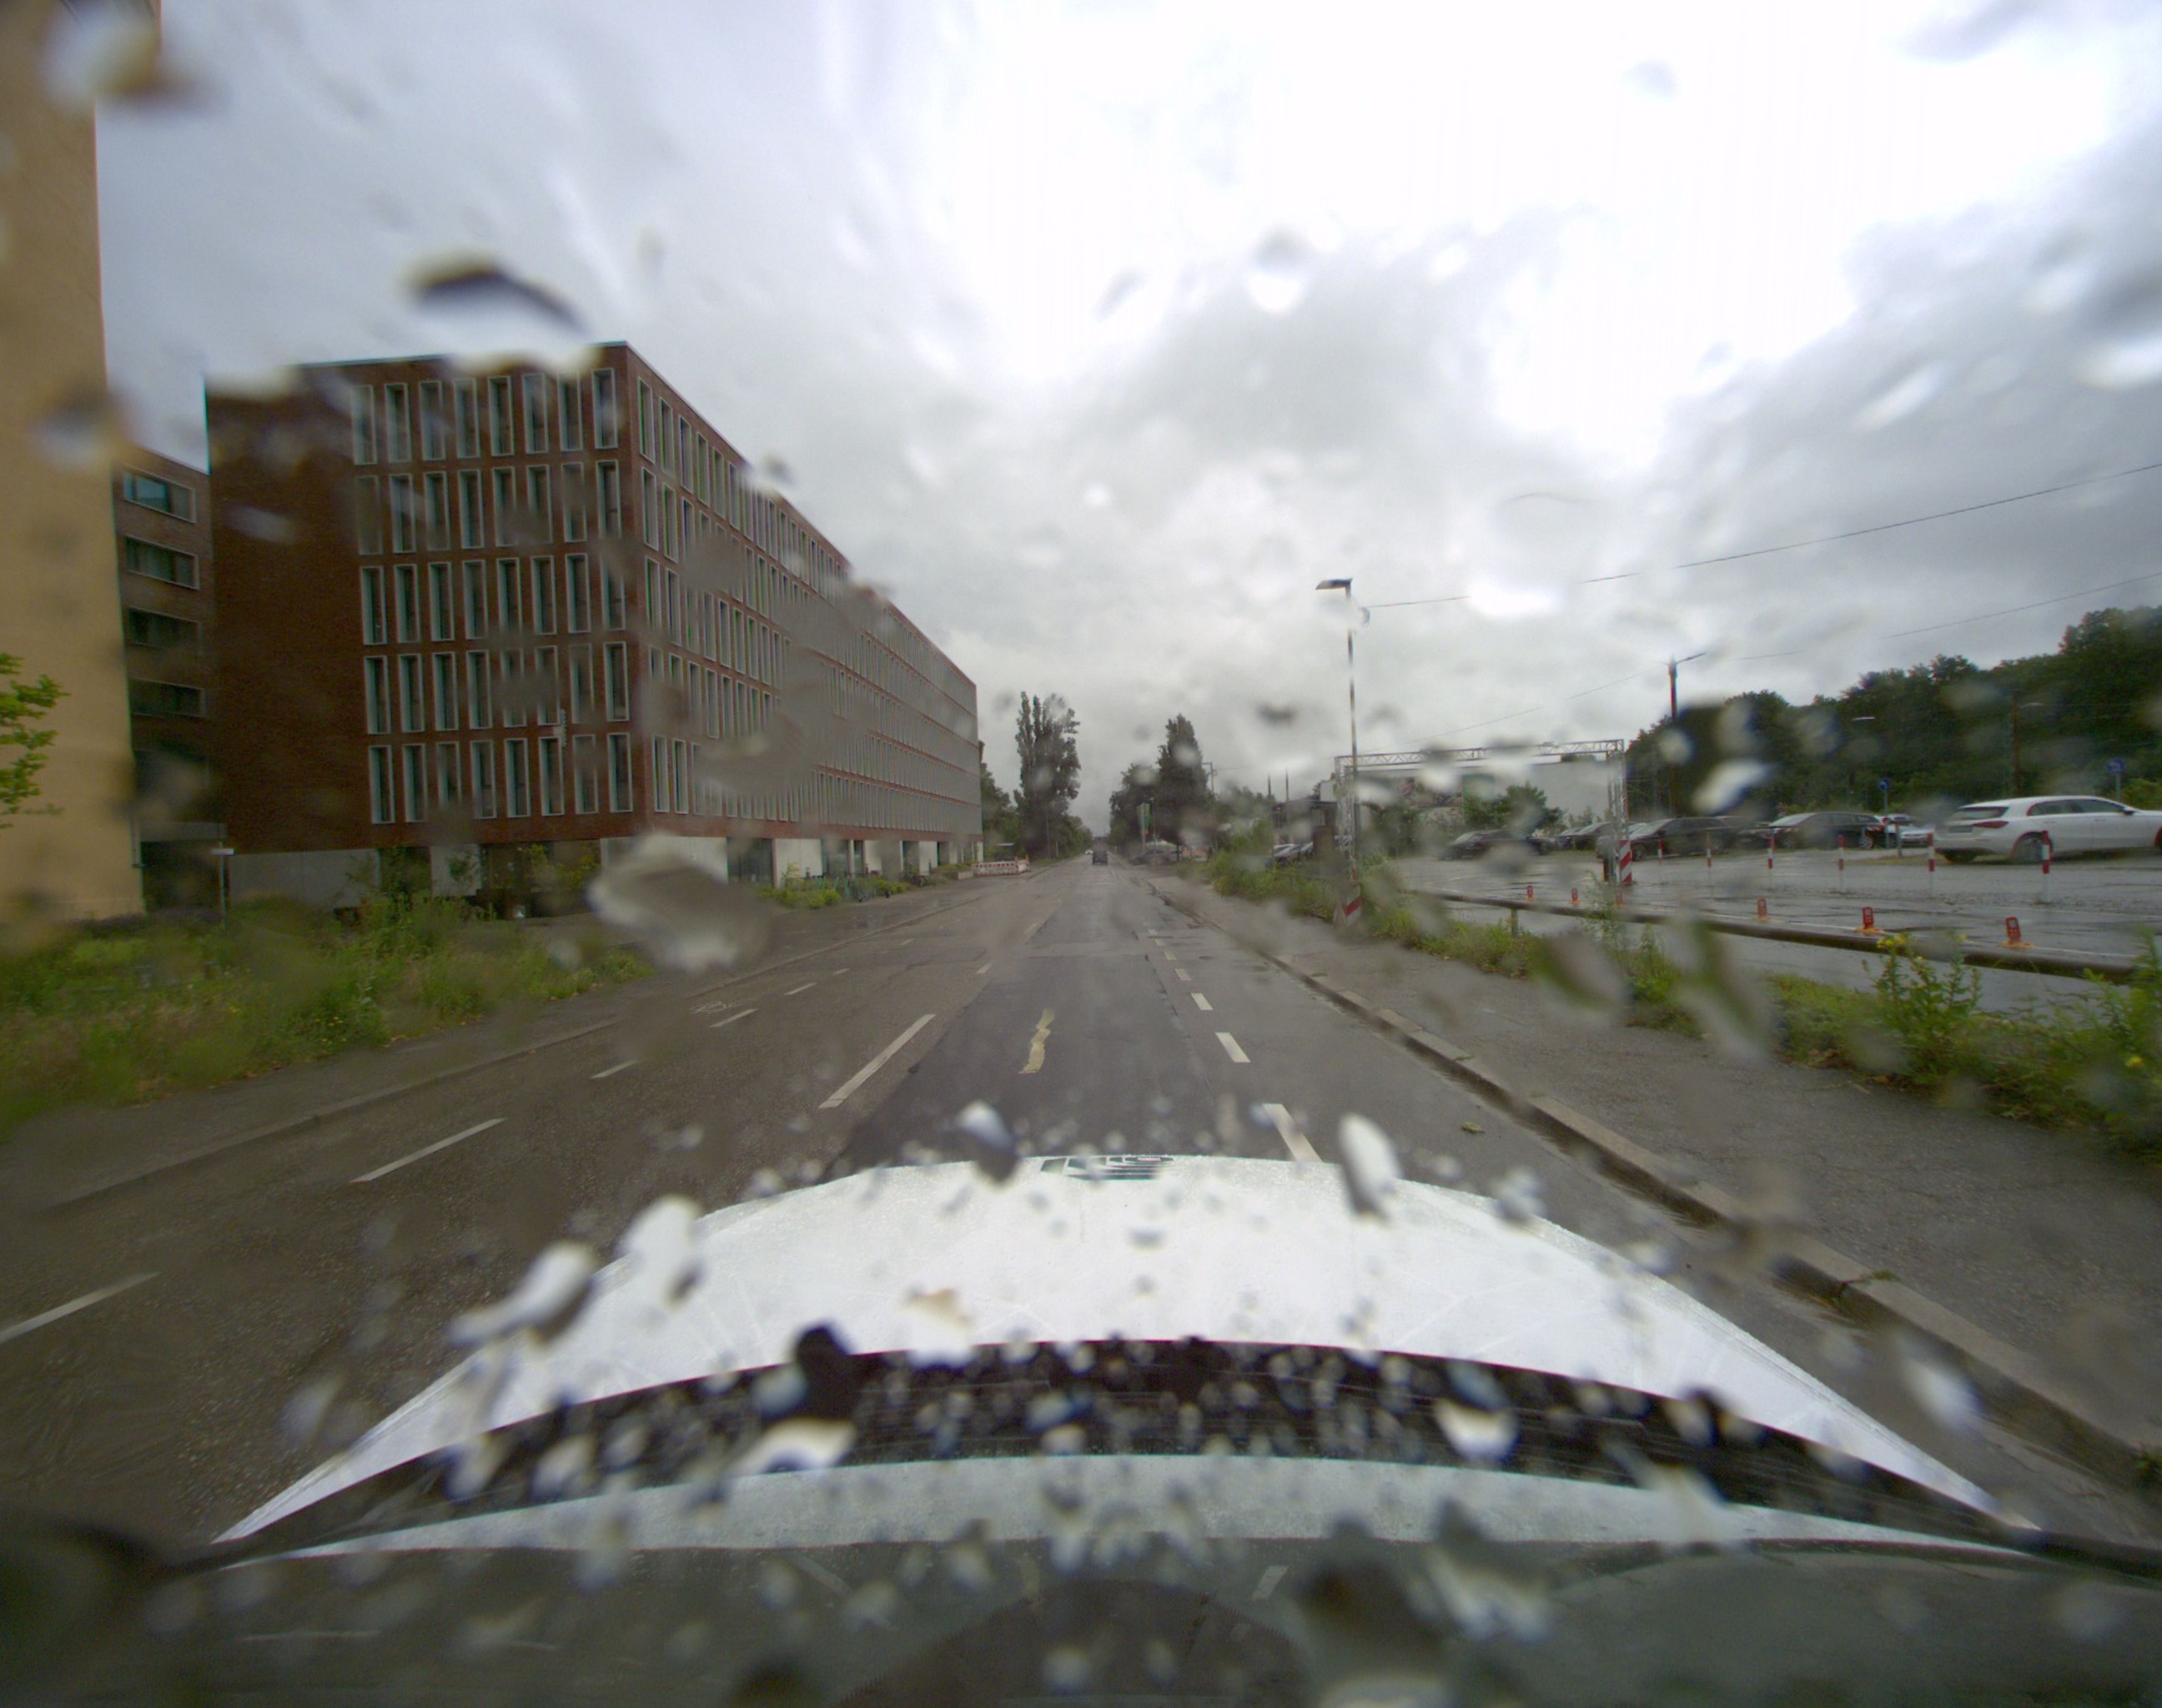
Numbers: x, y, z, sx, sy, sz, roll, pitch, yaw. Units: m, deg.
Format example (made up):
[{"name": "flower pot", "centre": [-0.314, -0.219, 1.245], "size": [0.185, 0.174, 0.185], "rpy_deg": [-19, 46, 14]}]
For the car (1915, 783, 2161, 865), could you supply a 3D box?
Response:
[{"name": "car", "centre": [21.926, -0.651, 18.482], "size": [3.812, 1.484, 1.930], "rpy_deg": [-5, -1, 4]}]

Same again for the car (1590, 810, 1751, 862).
[{"name": "car", "centre": [21.756, -0.634, 30.167], "size": [4.611, 1.716, 2.016], "rpy_deg": [-2, -1, -5]}]

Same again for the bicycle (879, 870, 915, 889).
[{"name": "bicycle", "centre": [-10.730, 1.491, 47.485], "size": [1.942, 1.077, 0.620], "rpy_deg": [-1, 0, 0]}]

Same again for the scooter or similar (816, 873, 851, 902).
[{"name": "scooter or similar", "centre": [-10.685, 1.441, 35.224], "size": [1.309, 1.177, 0.468], "rpy_deg": [-3, 0, 7]}]

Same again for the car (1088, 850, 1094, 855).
[{"name": "car", "centre": [3.153, -0.472, 253.345], "size": [1.727, 1.450, 4.383], "rpy_deg": [-5, 1, 2]}]

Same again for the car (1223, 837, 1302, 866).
[{"name": "car", "centre": [10.448, -0.123, 47.179], "size": [4.166, 1.510, 1.891], "rpy_deg": [-2, -1, 2]}]

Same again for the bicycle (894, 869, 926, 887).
[{"name": "bicycle", "centre": [-10.661, 1.465, 50.770], "size": [1.853, 1.077, 0.544], "rpy_deg": [-1, 0, 0]}]

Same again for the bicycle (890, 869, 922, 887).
[{"name": "bicycle", "centre": [-10.717, 1.480, 49.915], "size": [1.853, 1.077, 0.544], "rpy_deg": [-1, 0, 0]}]

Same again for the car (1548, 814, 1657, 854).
[{"name": "car", "centre": [27.593, -1.049, 43.197], "size": [4.429, 1.672, 2.042], "rpy_deg": [-5, -1, -2]}]

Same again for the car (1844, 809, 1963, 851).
[{"name": "car", "centre": [38.756, -1.099, 38.419], "size": [3.985, 1.728, 1.892], "rpy_deg": [-3, 0, -8]}]

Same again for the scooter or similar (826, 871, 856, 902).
[{"name": "scooter or similar", "centre": [-10.102, 1.377, 34.253], "size": [1.304, 1.230, 0.511], "rpy_deg": [-3, 0, 40]}]

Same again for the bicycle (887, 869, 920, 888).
[{"name": "bicycle", "centre": [-10.705, 1.476, 49.026], "size": [1.853, 1.077, 0.544], "rpy_deg": [-1, 0, 0]}]

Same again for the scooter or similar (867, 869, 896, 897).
[{"name": "scooter or similar", "centre": [-9.176, 1.317, 37.450], "size": [1.304, 1.230, 0.470], "rpy_deg": [-3, 0, 30]}]

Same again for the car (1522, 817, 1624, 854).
[{"name": "car", "centre": [27.653, -1.027, 45.862], "size": [4.429, 1.672, 2.042], "rpy_deg": [-5, -1, -2]}]

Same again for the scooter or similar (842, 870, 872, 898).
[{"name": "scooter or similar", "centre": [-10.437, 1.392, 37.942], "size": [0.461, 1.230, 1.215], "rpy_deg": [-3, 0, 44]}]

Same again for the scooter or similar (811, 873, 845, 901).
[{"name": "scooter or similar", "centre": [-11.116, 1.449, 35.788], "size": [1.309, 1.177, 0.468], "rpy_deg": [-3, 0, 7]}]

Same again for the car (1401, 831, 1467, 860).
[{"name": "car", "centre": [25.539, -0.631, 59.009], "size": [3.974, 1.922, 1.831], "rpy_deg": [-2, 1, 0]}]

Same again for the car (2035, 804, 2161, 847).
[{"name": "car", "centre": [38.542, -1.081, 30.480], "size": [3.984, 1.400, 1.786], "rpy_deg": [-3, 0, -8]}]

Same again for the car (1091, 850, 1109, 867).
[{"name": "car", "centre": [2.192, 0.547, 97.020], "size": [1.987, 1.910, 4.201], "rpy_deg": [-3, 0, 1]}]

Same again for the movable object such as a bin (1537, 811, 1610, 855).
[{"name": "movable object such as a bin", "centre": [35.390, -1.500, 58.634], "size": [3.973, 2.992, 2.000], "rpy_deg": [-2, 0, 0]}]

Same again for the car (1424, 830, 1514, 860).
[{"name": "car", "centre": [21.078, -0.472, 44.388], "size": [3.971, 1.409, 2.001], "rpy_deg": [-2, -1, 2]}]

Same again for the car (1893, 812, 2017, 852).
[{"name": "car", "centre": [38.323, -0.958, 35.748], "size": [3.984, 1.493, 1.709], "rpy_deg": [-3, 0, -8]}]

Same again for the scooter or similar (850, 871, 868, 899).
[{"name": "scooter or similar", "centre": [-9.856, 1.368, 36.158], "size": [0.468, 1.230, 1.309], "rpy_deg": [-3, 0, -27]}]

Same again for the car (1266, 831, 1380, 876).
[{"name": "car", "centre": [11.011, 0.009, 37.355], "size": [4.658, 1.735, 2.131], "rpy_deg": [-3, -1, 5]}]

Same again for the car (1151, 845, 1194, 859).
[{"name": "car", "centre": [10.547, -0.215, 94.071], "size": [4.688, 1.462, 1.890], "rpy_deg": [-2, 1, -1]}]

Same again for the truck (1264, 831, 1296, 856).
[{"name": "truck", "centre": [23.040, -1.216, 94.550], "size": [2.290, 2.659, 7.426], "rpy_deg": [-4, 0, 5]}]

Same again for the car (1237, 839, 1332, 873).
[{"name": "car", "centre": [10.114, 0.101, 40.731], "size": [4.279, 1.517, 1.820], "rpy_deg": [-2, -1, 2]}]

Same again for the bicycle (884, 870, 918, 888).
[{"name": "bicycle", "centre": [-10.722, 1.485, 48.479], "size": [1.853, 1.077, 0.544], "rpy_deg": [-1, 0, 0]}]

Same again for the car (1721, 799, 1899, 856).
[{"name": "car", "centre": [27.014, -0.950, 30.314], "size": [4.686, 1.605, 2.044], "rpy_deg": [-5, -1, 0]}]

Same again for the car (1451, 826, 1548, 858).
[{"name": "car", "centre": [21.536, -0.584, 42.051], "size": [3.971, 1.485, 2.001], "rpy_deg": [-2, -1, 2]}]

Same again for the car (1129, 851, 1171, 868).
[{"name": "car", "centre": [7.332, 0.621, 86.859], "size": [4.133, 1.569, 1.760], "rpy_deg": [-3, 0, -8]}]

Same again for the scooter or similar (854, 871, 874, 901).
[{"name": "scooter or similar", "centre": [-9.289, 1.360, 34.842], "size": [0.464, 1.230, 1.320], "rpy_deg": [-3, 0, -1]}]

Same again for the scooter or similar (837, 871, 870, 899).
[{"name": "scooter or similar", "centre": [-10.368, 1.398, 37.120], "size": [1.317, 1.177, 0.466], "rpy_deg": [-3, 0, -11]}]

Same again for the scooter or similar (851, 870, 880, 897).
[{"name": "scooter or similar", "centre": [-10.274, 1.397, 38.763], "size": [0.461, 1.208, 1.215], "rpy_deg": [-3, 0, 44]}]

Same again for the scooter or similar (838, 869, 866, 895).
[{"name": "scooter or similar", "centre": [-11.452, 1.414, 40.679], "size": [1.219, 1.208, 0.418], "rpy_deg": [-3, 0, 8]}]
